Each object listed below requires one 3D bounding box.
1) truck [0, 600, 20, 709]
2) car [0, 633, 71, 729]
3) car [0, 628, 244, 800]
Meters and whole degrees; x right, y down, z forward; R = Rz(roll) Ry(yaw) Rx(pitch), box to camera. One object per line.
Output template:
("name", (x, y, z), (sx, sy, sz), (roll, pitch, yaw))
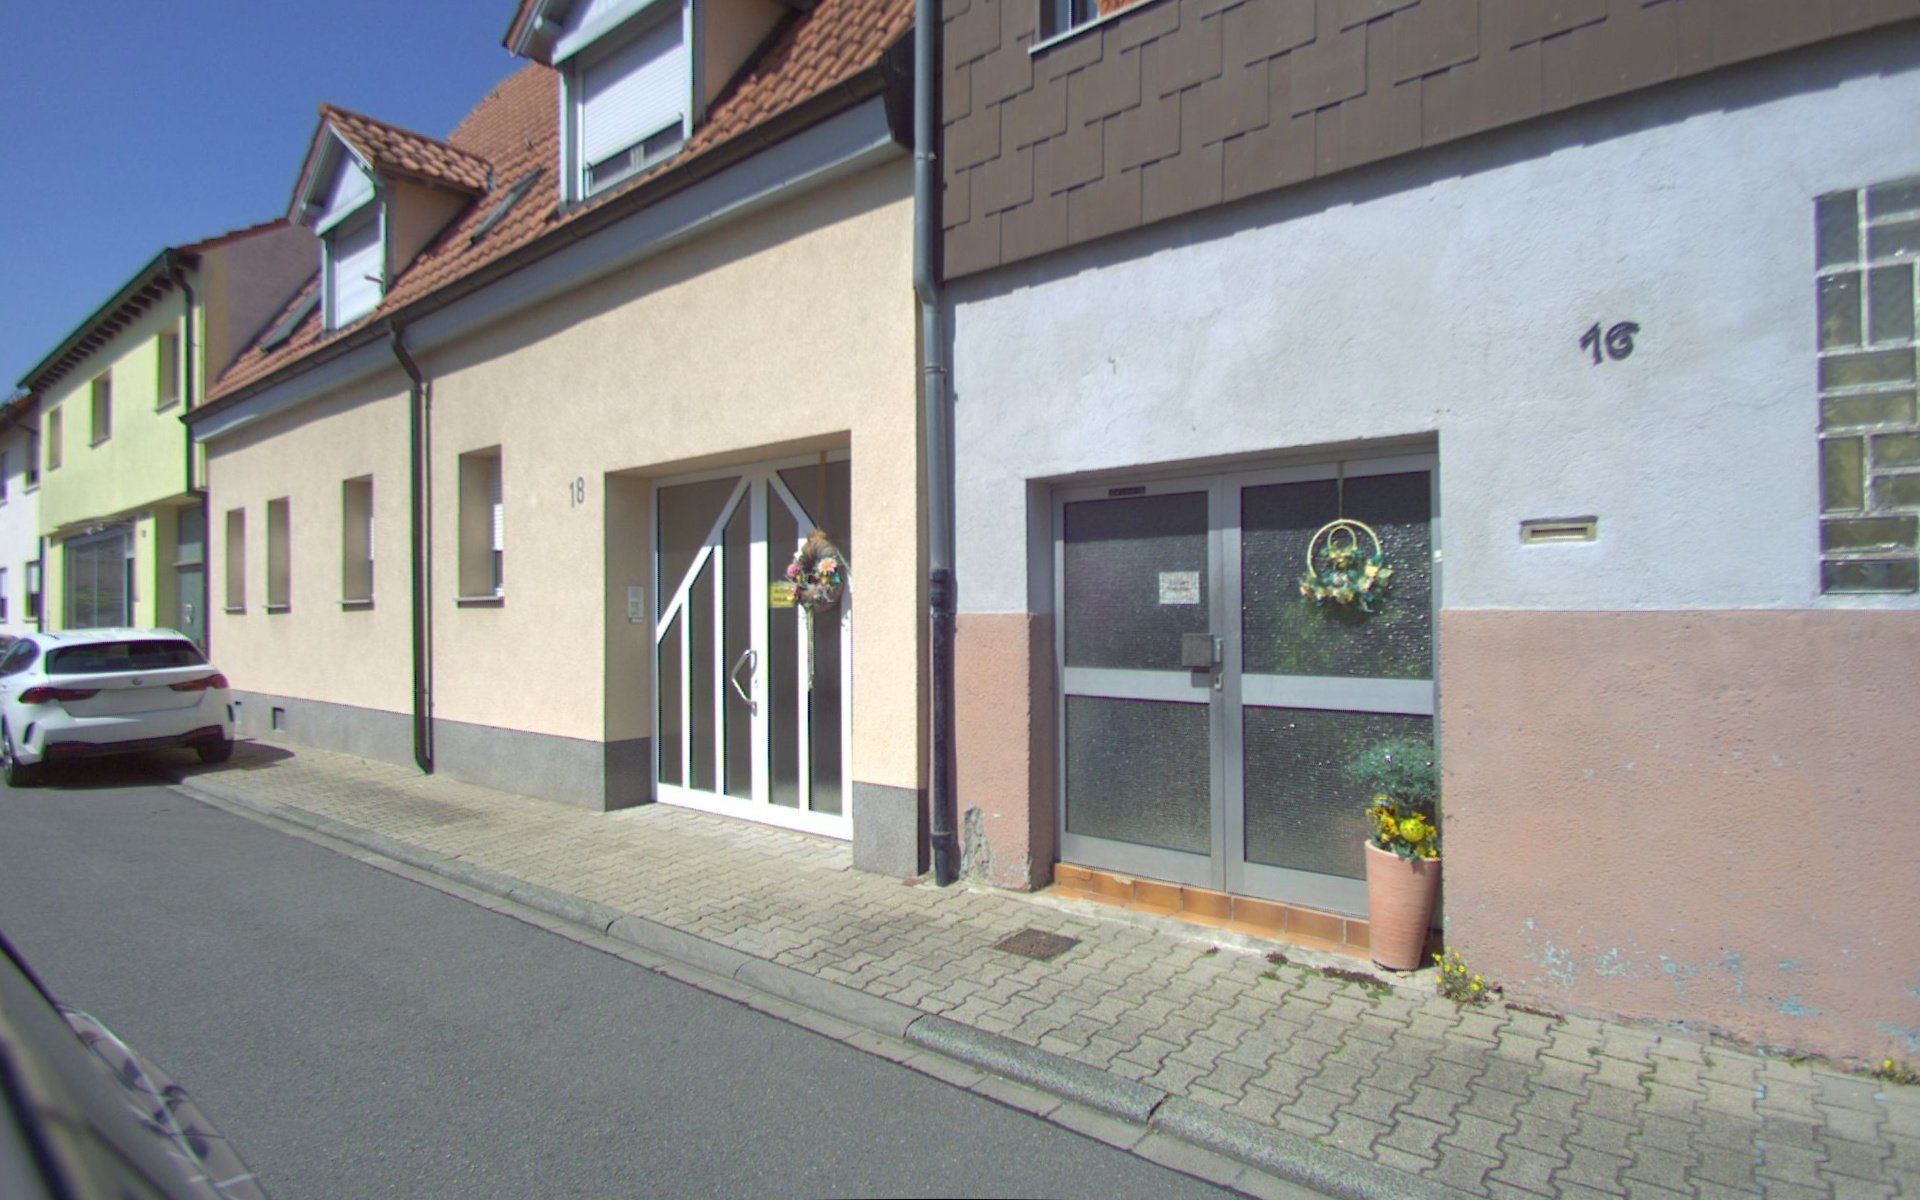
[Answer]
("truck", (-20.308, 1.035, 19.838), (5.076, 2.029, 2.160), (-1, -2, 40))
("car", (-16.058, 1.218, 16.209), (4.626, 1.405, 1.903), (-1, -4, 39))
("car", (-9.384, 1.051, 10.886), (4.212, 1.465, 1.764), (-1, -2, 41))
